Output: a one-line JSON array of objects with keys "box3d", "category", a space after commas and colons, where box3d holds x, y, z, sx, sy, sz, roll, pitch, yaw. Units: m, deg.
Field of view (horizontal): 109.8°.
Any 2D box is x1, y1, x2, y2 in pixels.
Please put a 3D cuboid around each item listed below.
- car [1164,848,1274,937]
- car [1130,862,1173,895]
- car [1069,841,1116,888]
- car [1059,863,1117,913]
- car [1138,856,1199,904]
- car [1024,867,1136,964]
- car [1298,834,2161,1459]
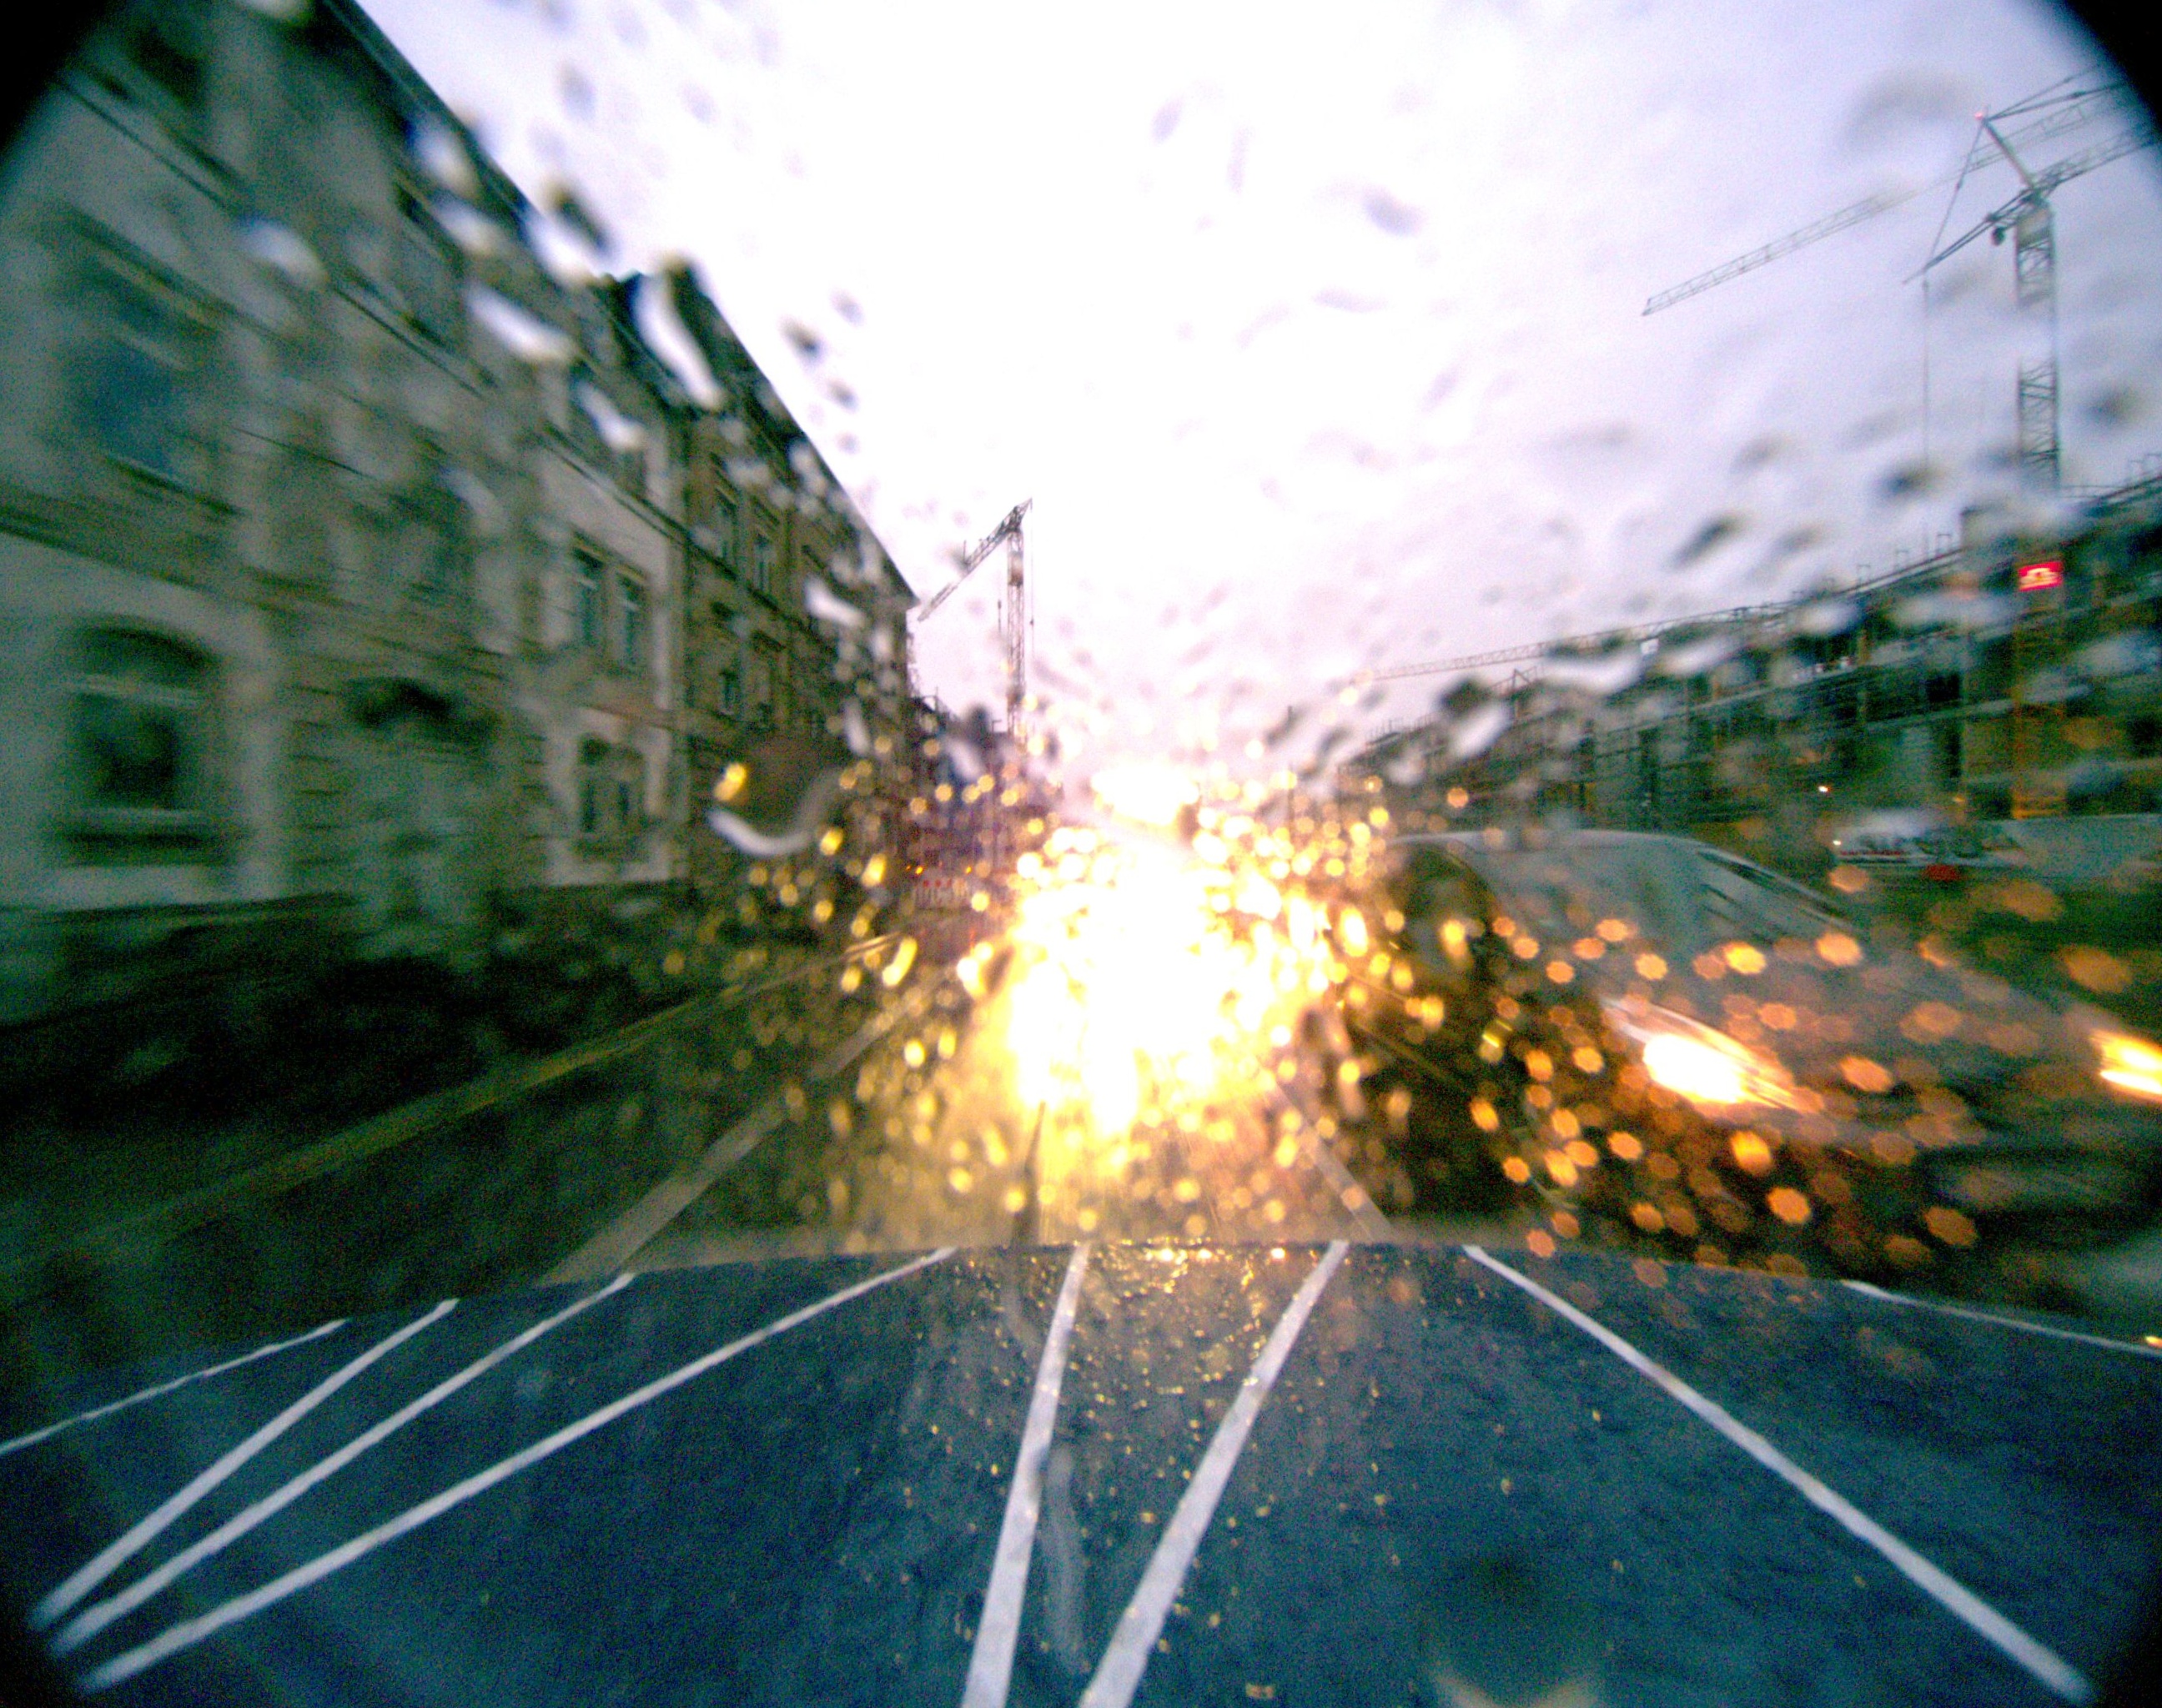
[{"box3d": [2.985, 0.769, 17.282, 1.857, 1.723, 4.001, -2, 0, 2], "category": "car"}, {"box3d": [3.682, 1.240, 40.303, 1.844, 1.547, 4.000, -2, 0, 0], "category": "car"}, {"box3d": [0.441, 0.434, 33.314, 1.858, 1.886, 4.000, -2, 0, -1], "category": "car"}, {"box3d": [0.183, 1.097, 25.832, 1.764, 1.443, 4.000, -2, 0, -1], "category": "car"}, {"box3d": [3.239, 0.918, 28.966, 1.844, 1.644, 4.324, -2, 0, 1], "category": "car"}, {"box3d": [-0.044, 1.028, 14.325, 1.764, 1.443, 4.000, -2, 0, -1], "category": "car"}, {"box3d": [2.577, 0.766, 3.977, 1.764, 1.584, 4.000, -2, 0, 1], "category": "car"}]
